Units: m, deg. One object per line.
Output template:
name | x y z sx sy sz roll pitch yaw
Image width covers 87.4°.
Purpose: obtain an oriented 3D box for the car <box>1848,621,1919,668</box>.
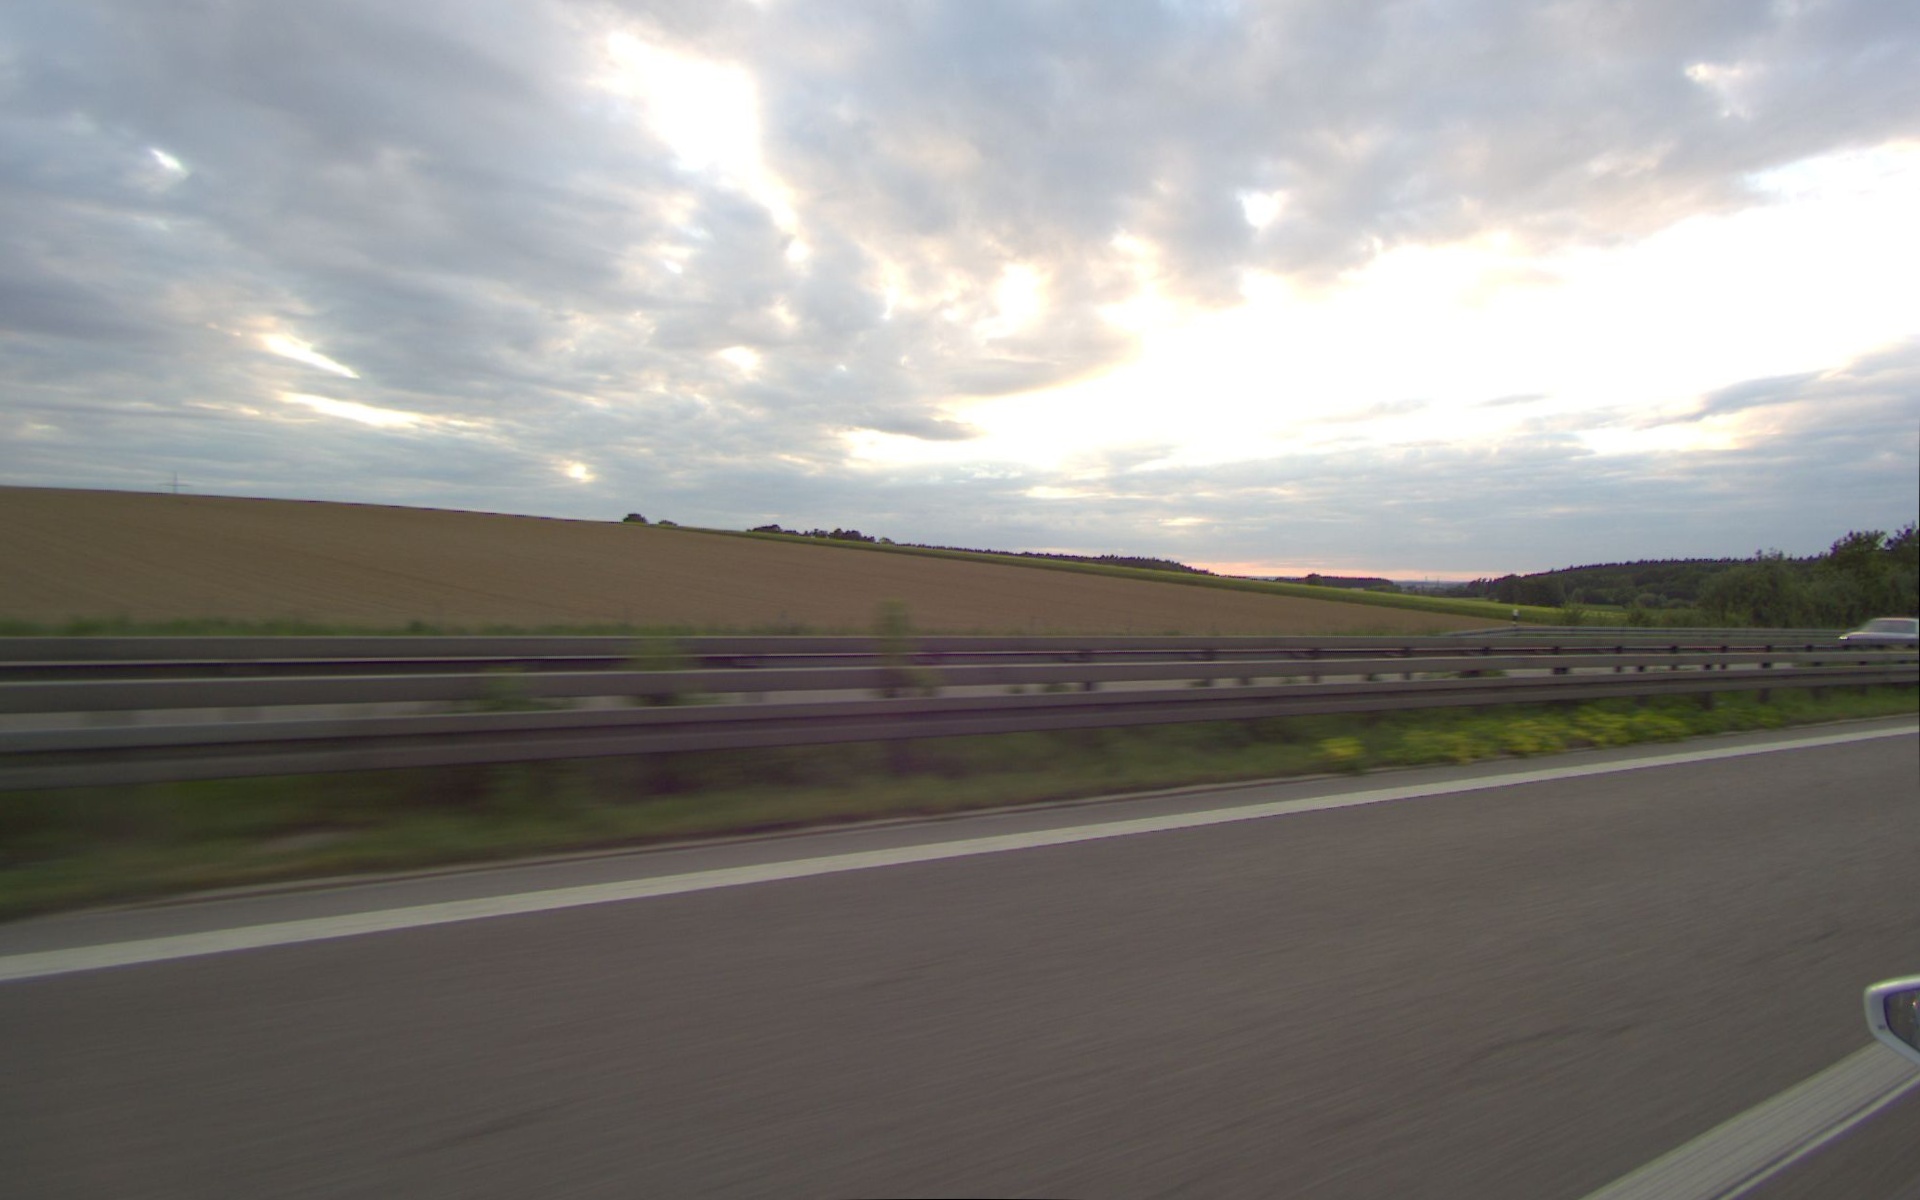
car | 31.358 1.436 33.229 4.565 1.384 1.559 1 3 -30
